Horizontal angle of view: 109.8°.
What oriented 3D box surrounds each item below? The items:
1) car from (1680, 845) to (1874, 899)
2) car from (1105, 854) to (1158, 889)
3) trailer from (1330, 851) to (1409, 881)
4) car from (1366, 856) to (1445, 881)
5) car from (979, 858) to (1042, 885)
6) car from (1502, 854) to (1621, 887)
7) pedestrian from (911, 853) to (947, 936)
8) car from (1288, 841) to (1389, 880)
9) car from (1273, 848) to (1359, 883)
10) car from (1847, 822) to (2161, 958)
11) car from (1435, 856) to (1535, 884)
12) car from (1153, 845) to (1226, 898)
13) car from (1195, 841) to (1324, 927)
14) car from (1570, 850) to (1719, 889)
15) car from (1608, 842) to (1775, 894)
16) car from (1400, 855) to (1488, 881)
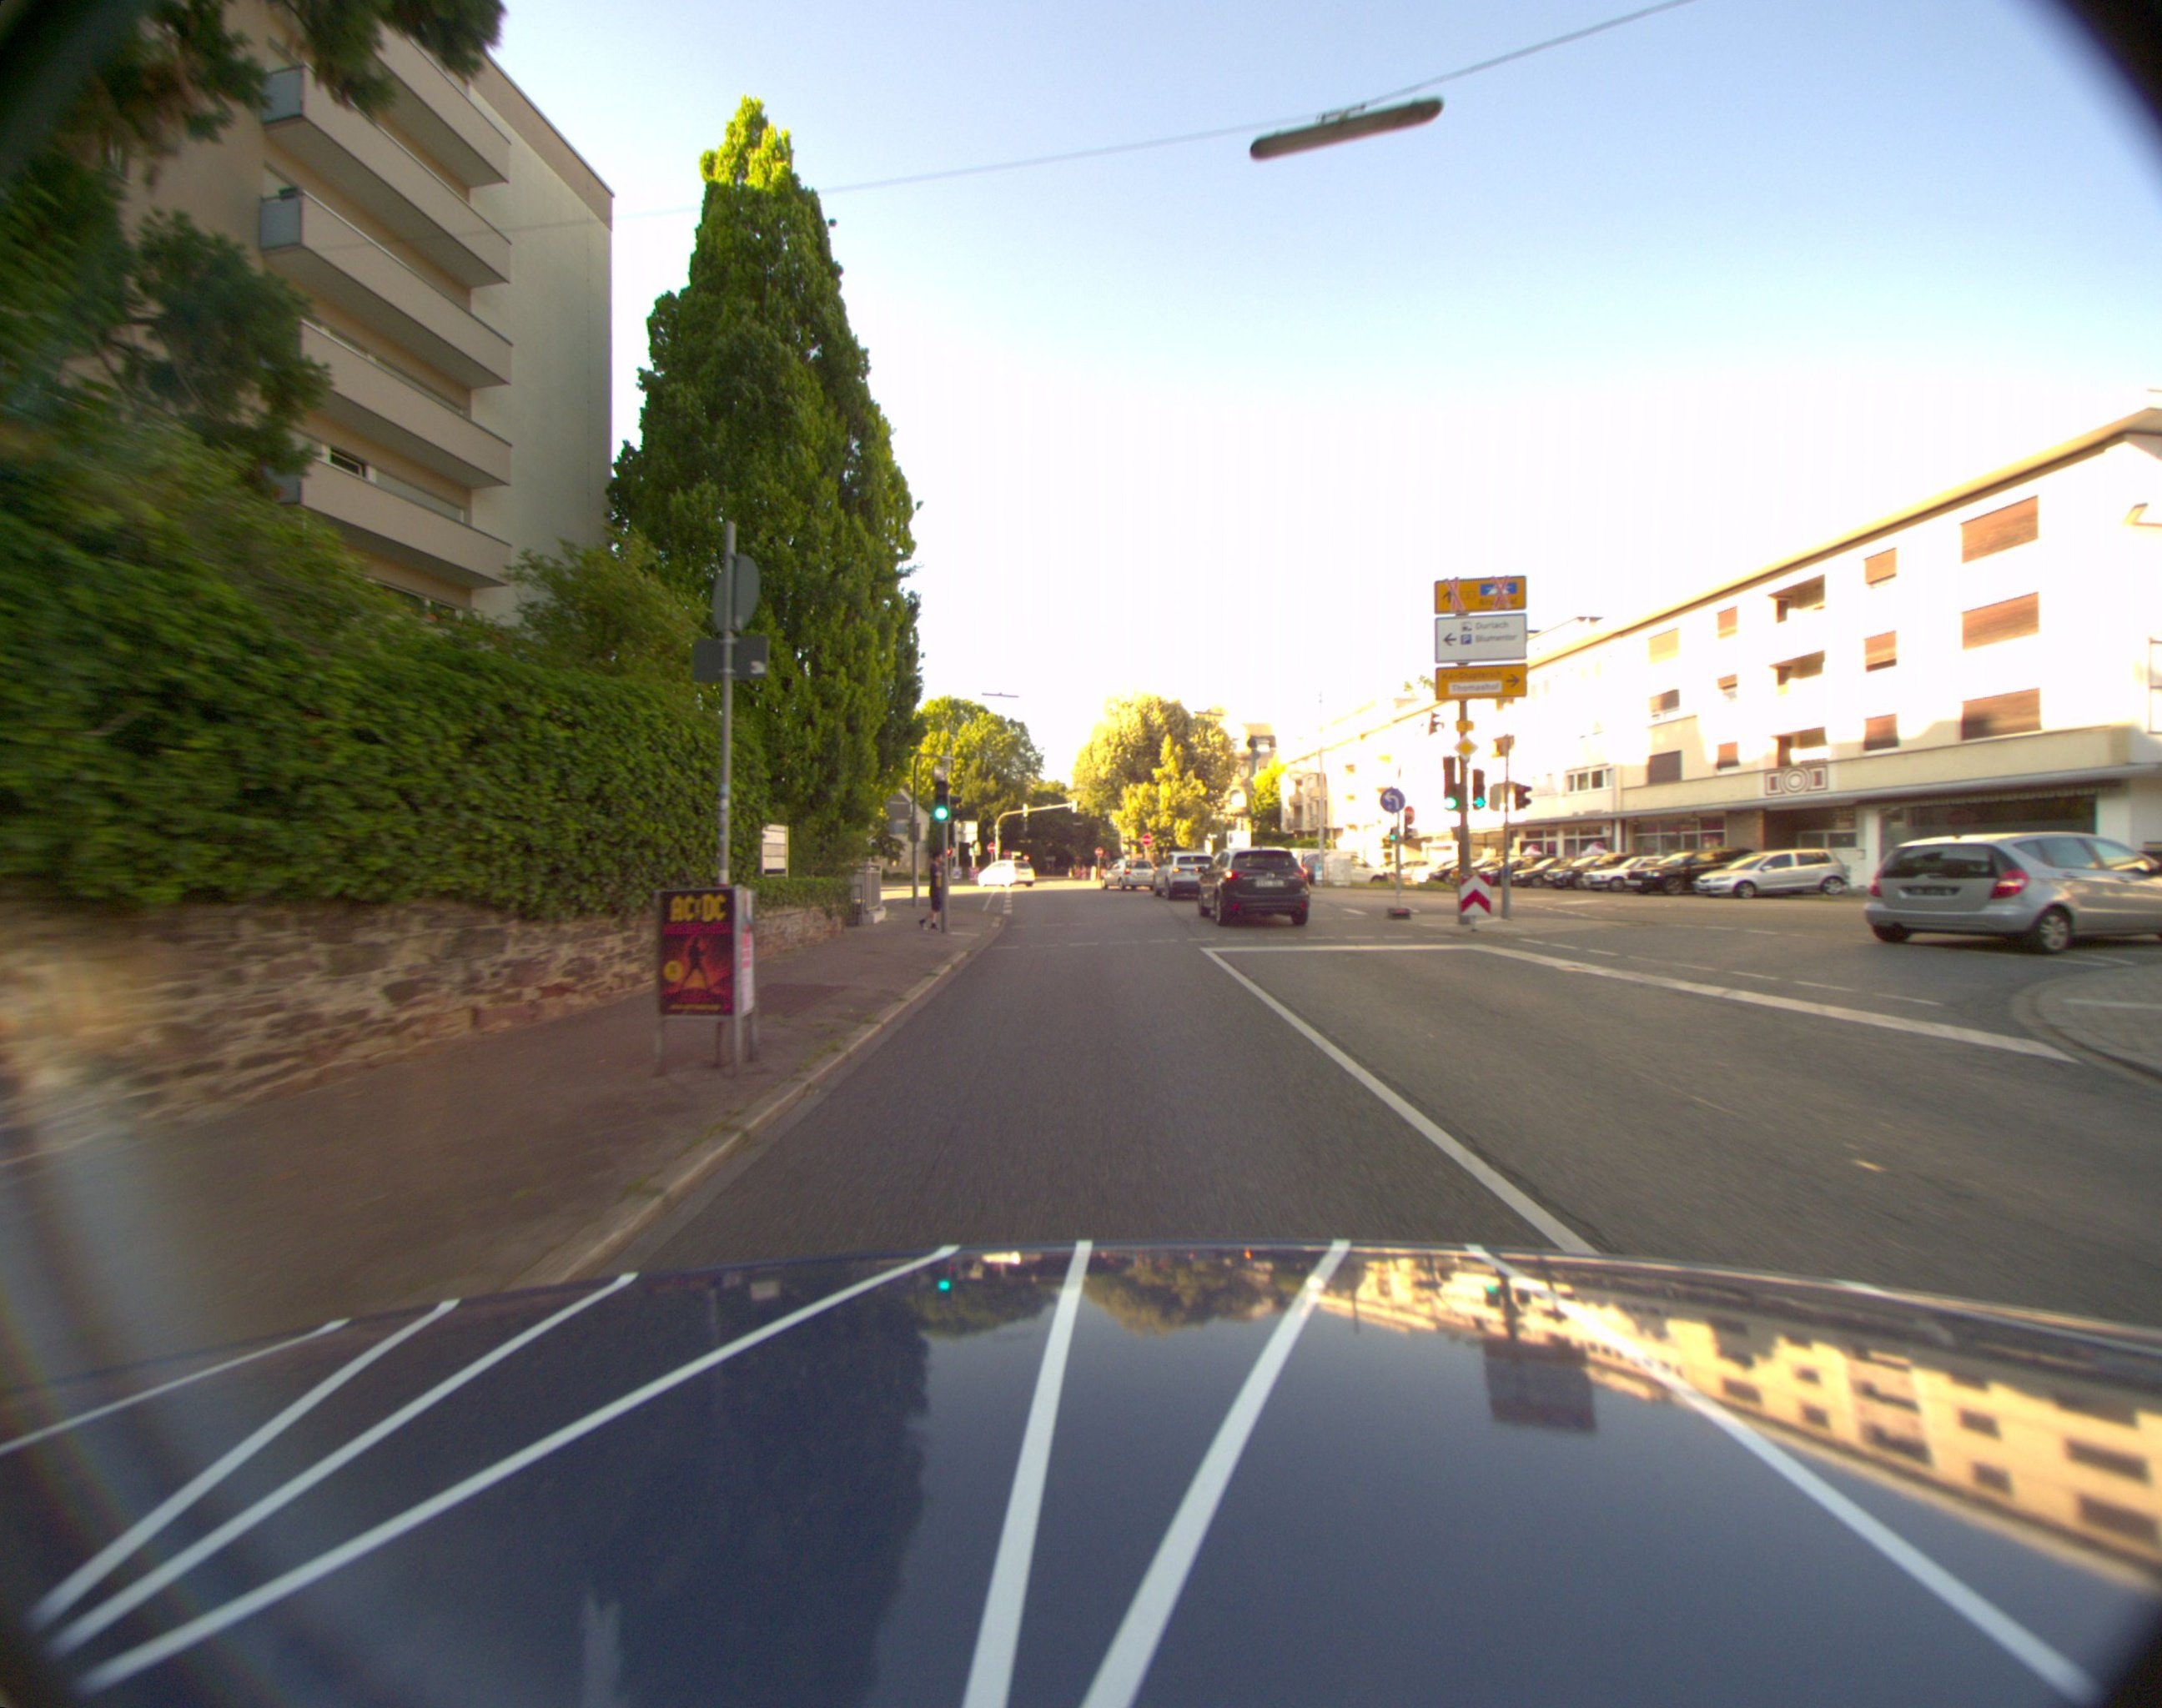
[{"bbox_3d":[22.975,0.601,25.283,4.320,1.601,2.002,-2,-1,11],"label":"car"},{"bbox_3d":[2.296,0.801,35.516,1.781,1.471,4.095,-2,-1,-5],"label":"car"},{"bbox_3d":[14.291,0.599,37.696,3.263,1.388,1.574,-2,-1,-4],"label":"trailer"},{"bbox_3d":[21.378,0.940,50.202,4.324,1.501,2.000,-2,-1,0],"label":"car"},{"bbox_3d":[-4.268,1.064,45.588,1.785,1.533,3.989,-1,-1,-41],"label":"car"},{"bbox_3d":[22.600,0.779,35.853,4.324,1.390,2.000,-2,-1,0],"label":"car"},{"bbox_3d":[-3.144,0.830,15.732,0.604,1.683,0.612,0,0,0],"label":"pedestrian"},{"bbox_3d":[13.871,0.362,41.138,4.680,1.953,2.117,-2,-1,-4],"label":"car"},{"bbox_3d":[13.593,0.655,44.081,4.324,1.840,2.000,-2,-1,0],"label":"car"},{"bbox_3d":[13.629,0.428,10.712,4.284,1.639,1.958,-1,-1,-12],"label":"car"},{"bbox_3d":[21.880,0.864,41.237,4.324,1.390,2.000,-2,-1,0],"label":"car"},{"bbox_3d":[3.677,0.609,26.516,1.780,1.638,4.534,-2,-1,-1],"label":"car"},{"bbox_3d":[3.825,0.634,17.064,1.958,1.638,4.284,-2,-1,1],"label":"car"},{"bbox_3d":[22.492,0.619,30.517,4.320,1.390,2.002,-2,-1,11],"label":"car"},{"bbox_3d":[22.311,0.524,27.948,4.320,1.704,2.002,-2,-1,11],"label":"car"},{"bbox_3d":[22.010,0.855,46.197,4.324,1.390,2.000,-2,-1,0],"label":"car"}]
